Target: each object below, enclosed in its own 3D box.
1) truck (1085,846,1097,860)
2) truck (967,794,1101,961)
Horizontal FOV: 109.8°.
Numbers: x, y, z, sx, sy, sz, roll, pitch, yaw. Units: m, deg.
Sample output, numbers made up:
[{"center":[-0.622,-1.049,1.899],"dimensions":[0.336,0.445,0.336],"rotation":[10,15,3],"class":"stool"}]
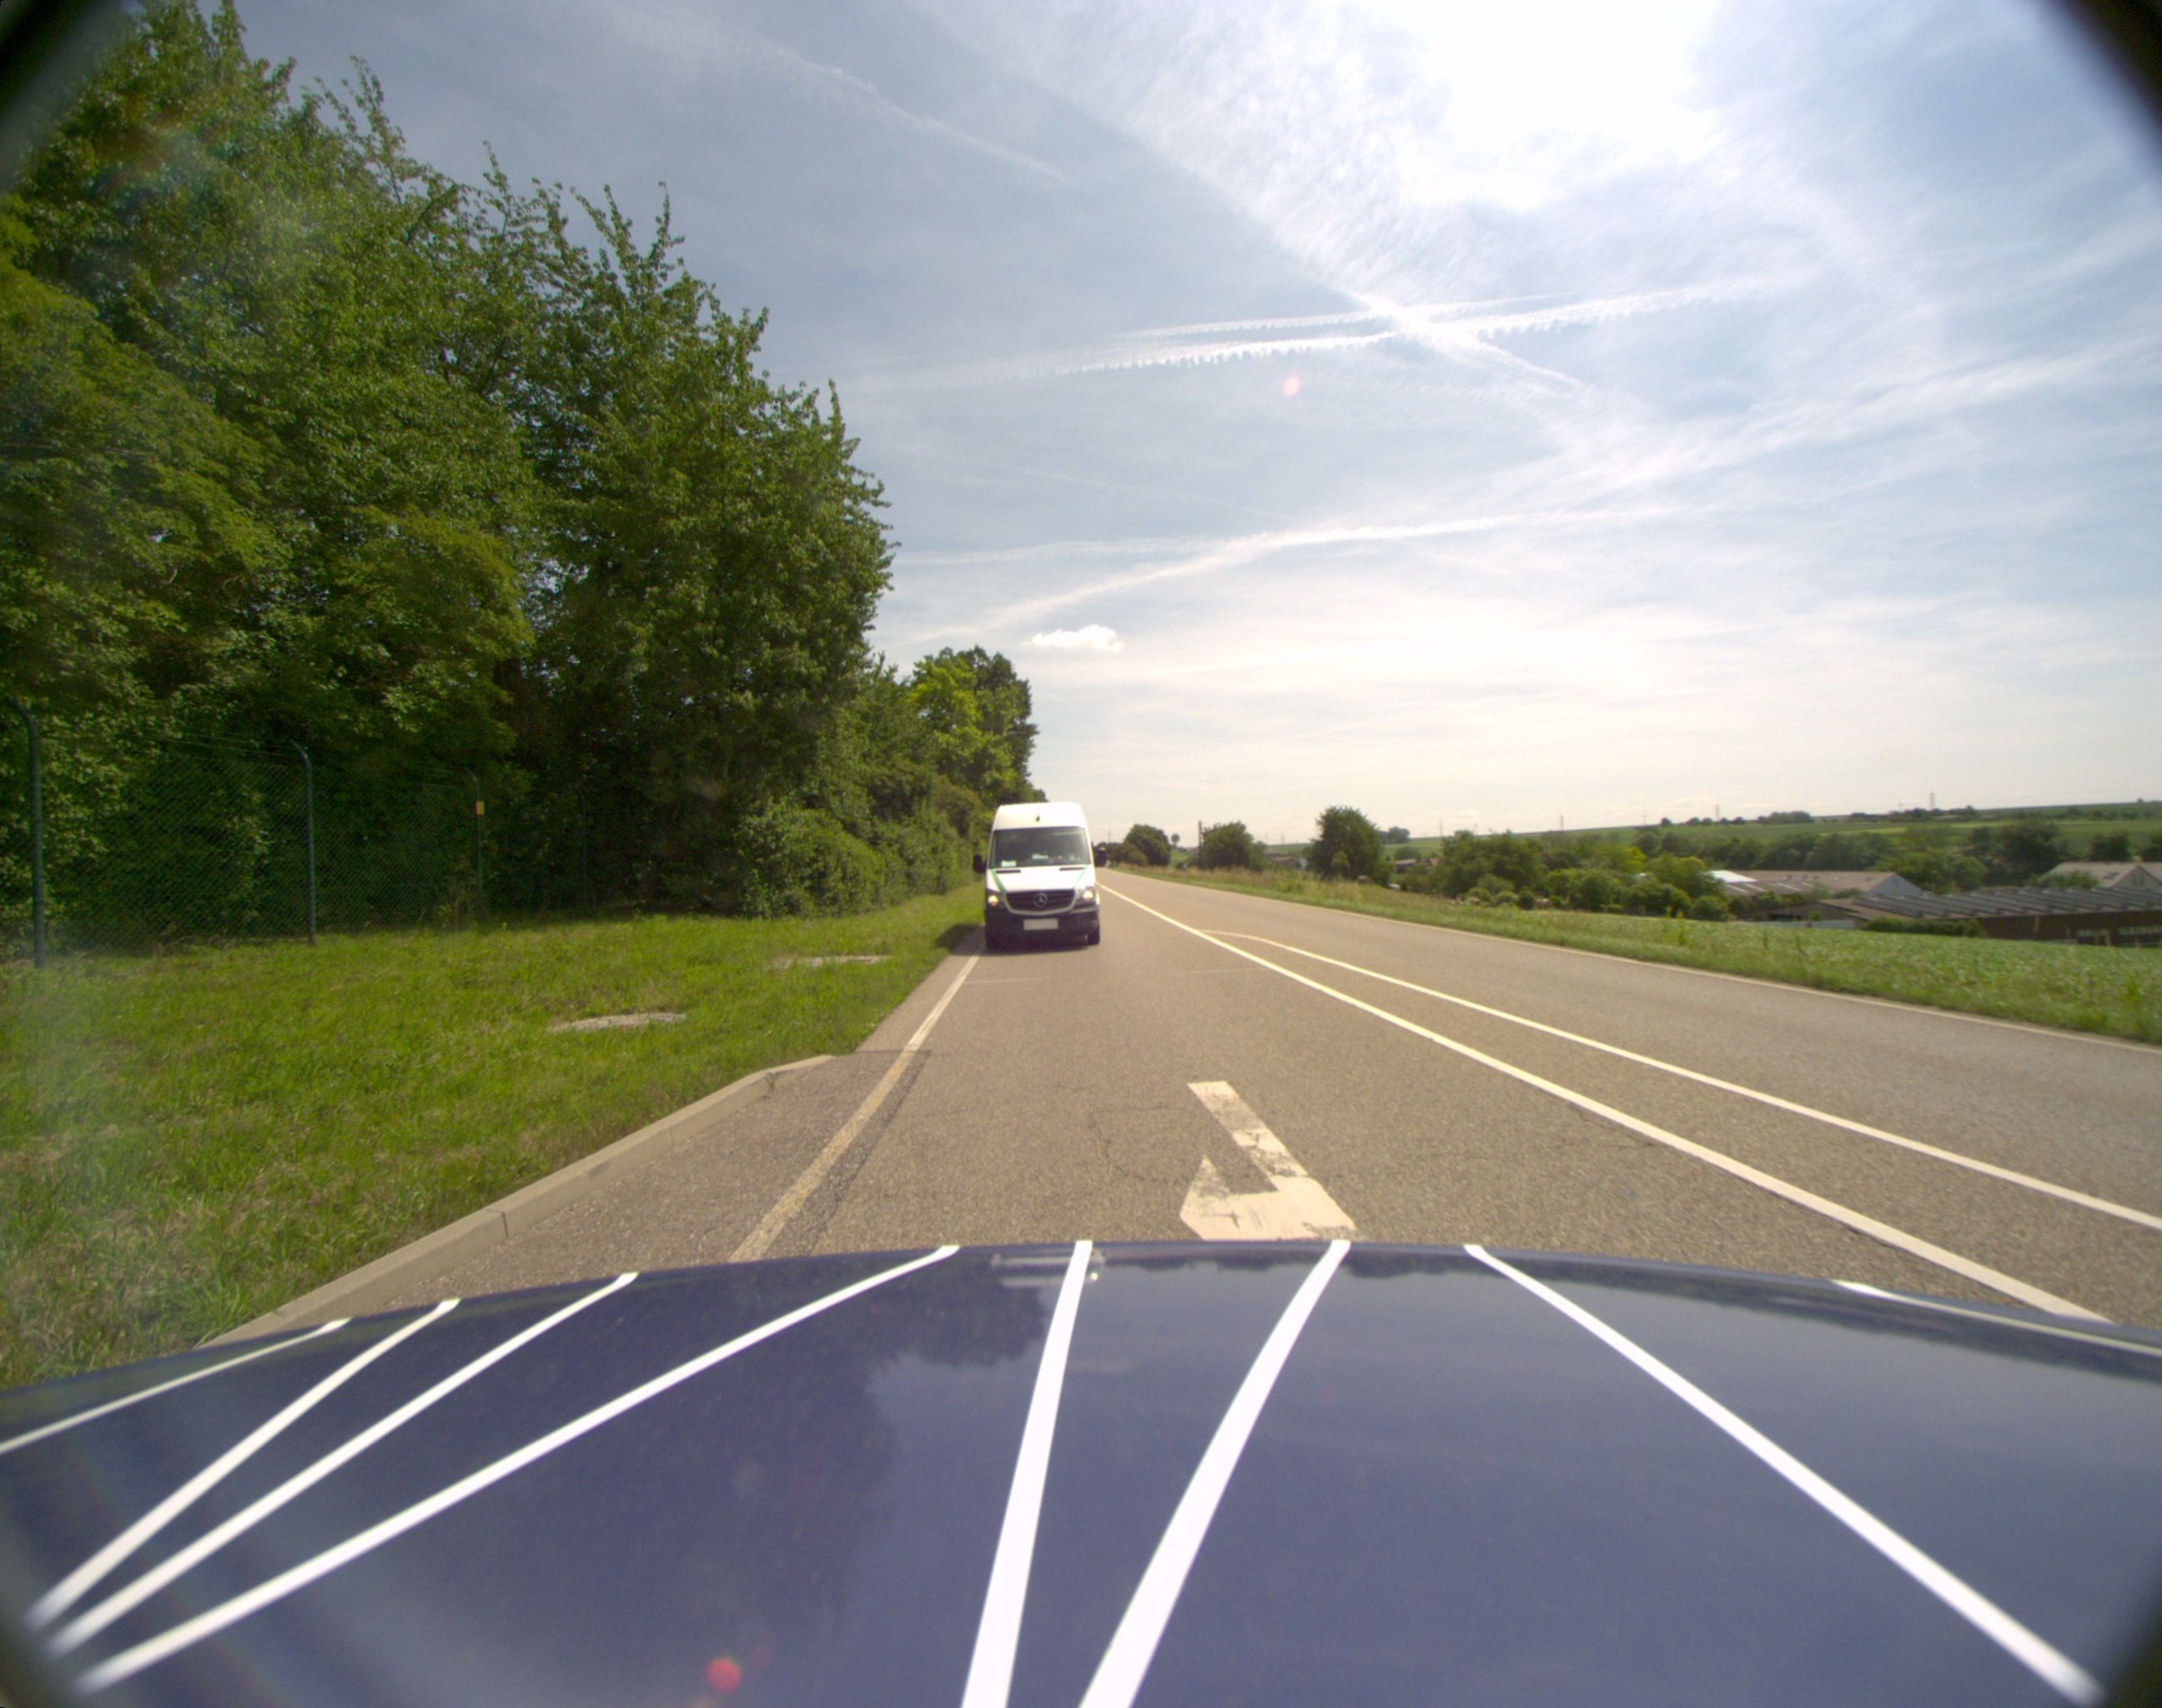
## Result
[{"center":[2.607,-0.305,197.471],"dimensions":[2.763,3.555,11.066],"rotation":[1,0,1],"class":"truck"},{"center":[-0.700,0.365,15.648],"dimensions":[2.023,2.568,7.225],"rotation":[-2,0,1],"class":"truck"}]
